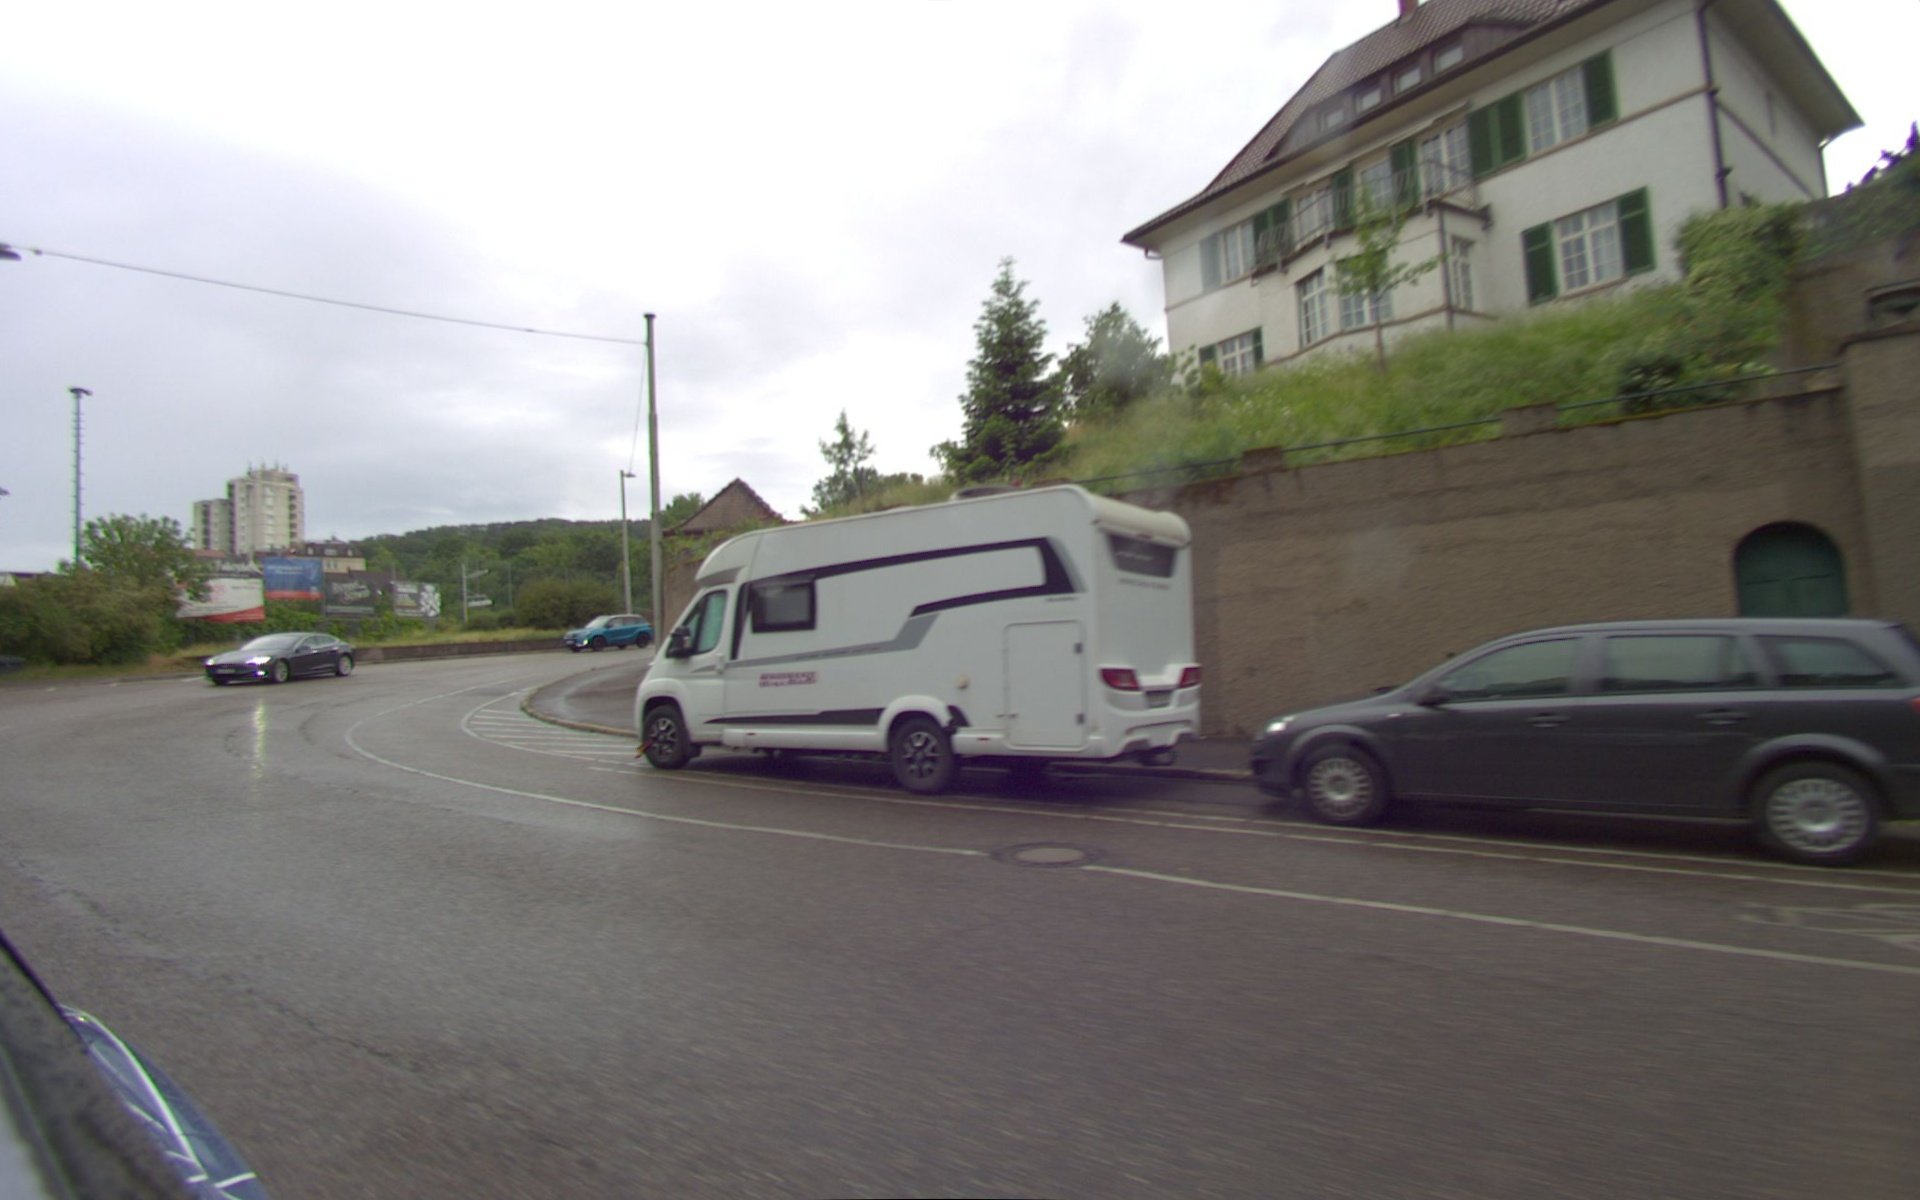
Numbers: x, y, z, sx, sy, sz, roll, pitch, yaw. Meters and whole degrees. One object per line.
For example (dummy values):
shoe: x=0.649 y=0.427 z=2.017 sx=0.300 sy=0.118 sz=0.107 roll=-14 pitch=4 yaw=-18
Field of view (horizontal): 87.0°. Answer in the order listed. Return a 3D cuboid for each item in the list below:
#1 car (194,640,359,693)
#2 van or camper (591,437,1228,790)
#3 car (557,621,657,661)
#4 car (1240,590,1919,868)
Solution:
car: x=-20.471 y=1.949 z=30.544 sx=1.813 sy=1.402 sz=4.317 roll=0 pitch=-1 yaw=5
van or camper: x=-0.922 y=0.291 z=10.946 sx=7.033 sy=2.810 sz=2.137 roll=-3 pitch=-4 yaw=35
car: x=-16.114 y=1.846 z=46.357 sx=1.798 sy=1.622 sz=3.992 roll=-7 pitch=-6 yaw=35
car: x=4.438 y=0.812 z=7.176 sx=4.360 sy=1.510 sz=1.772 roll=-4 pitch=-4 yaw=35
